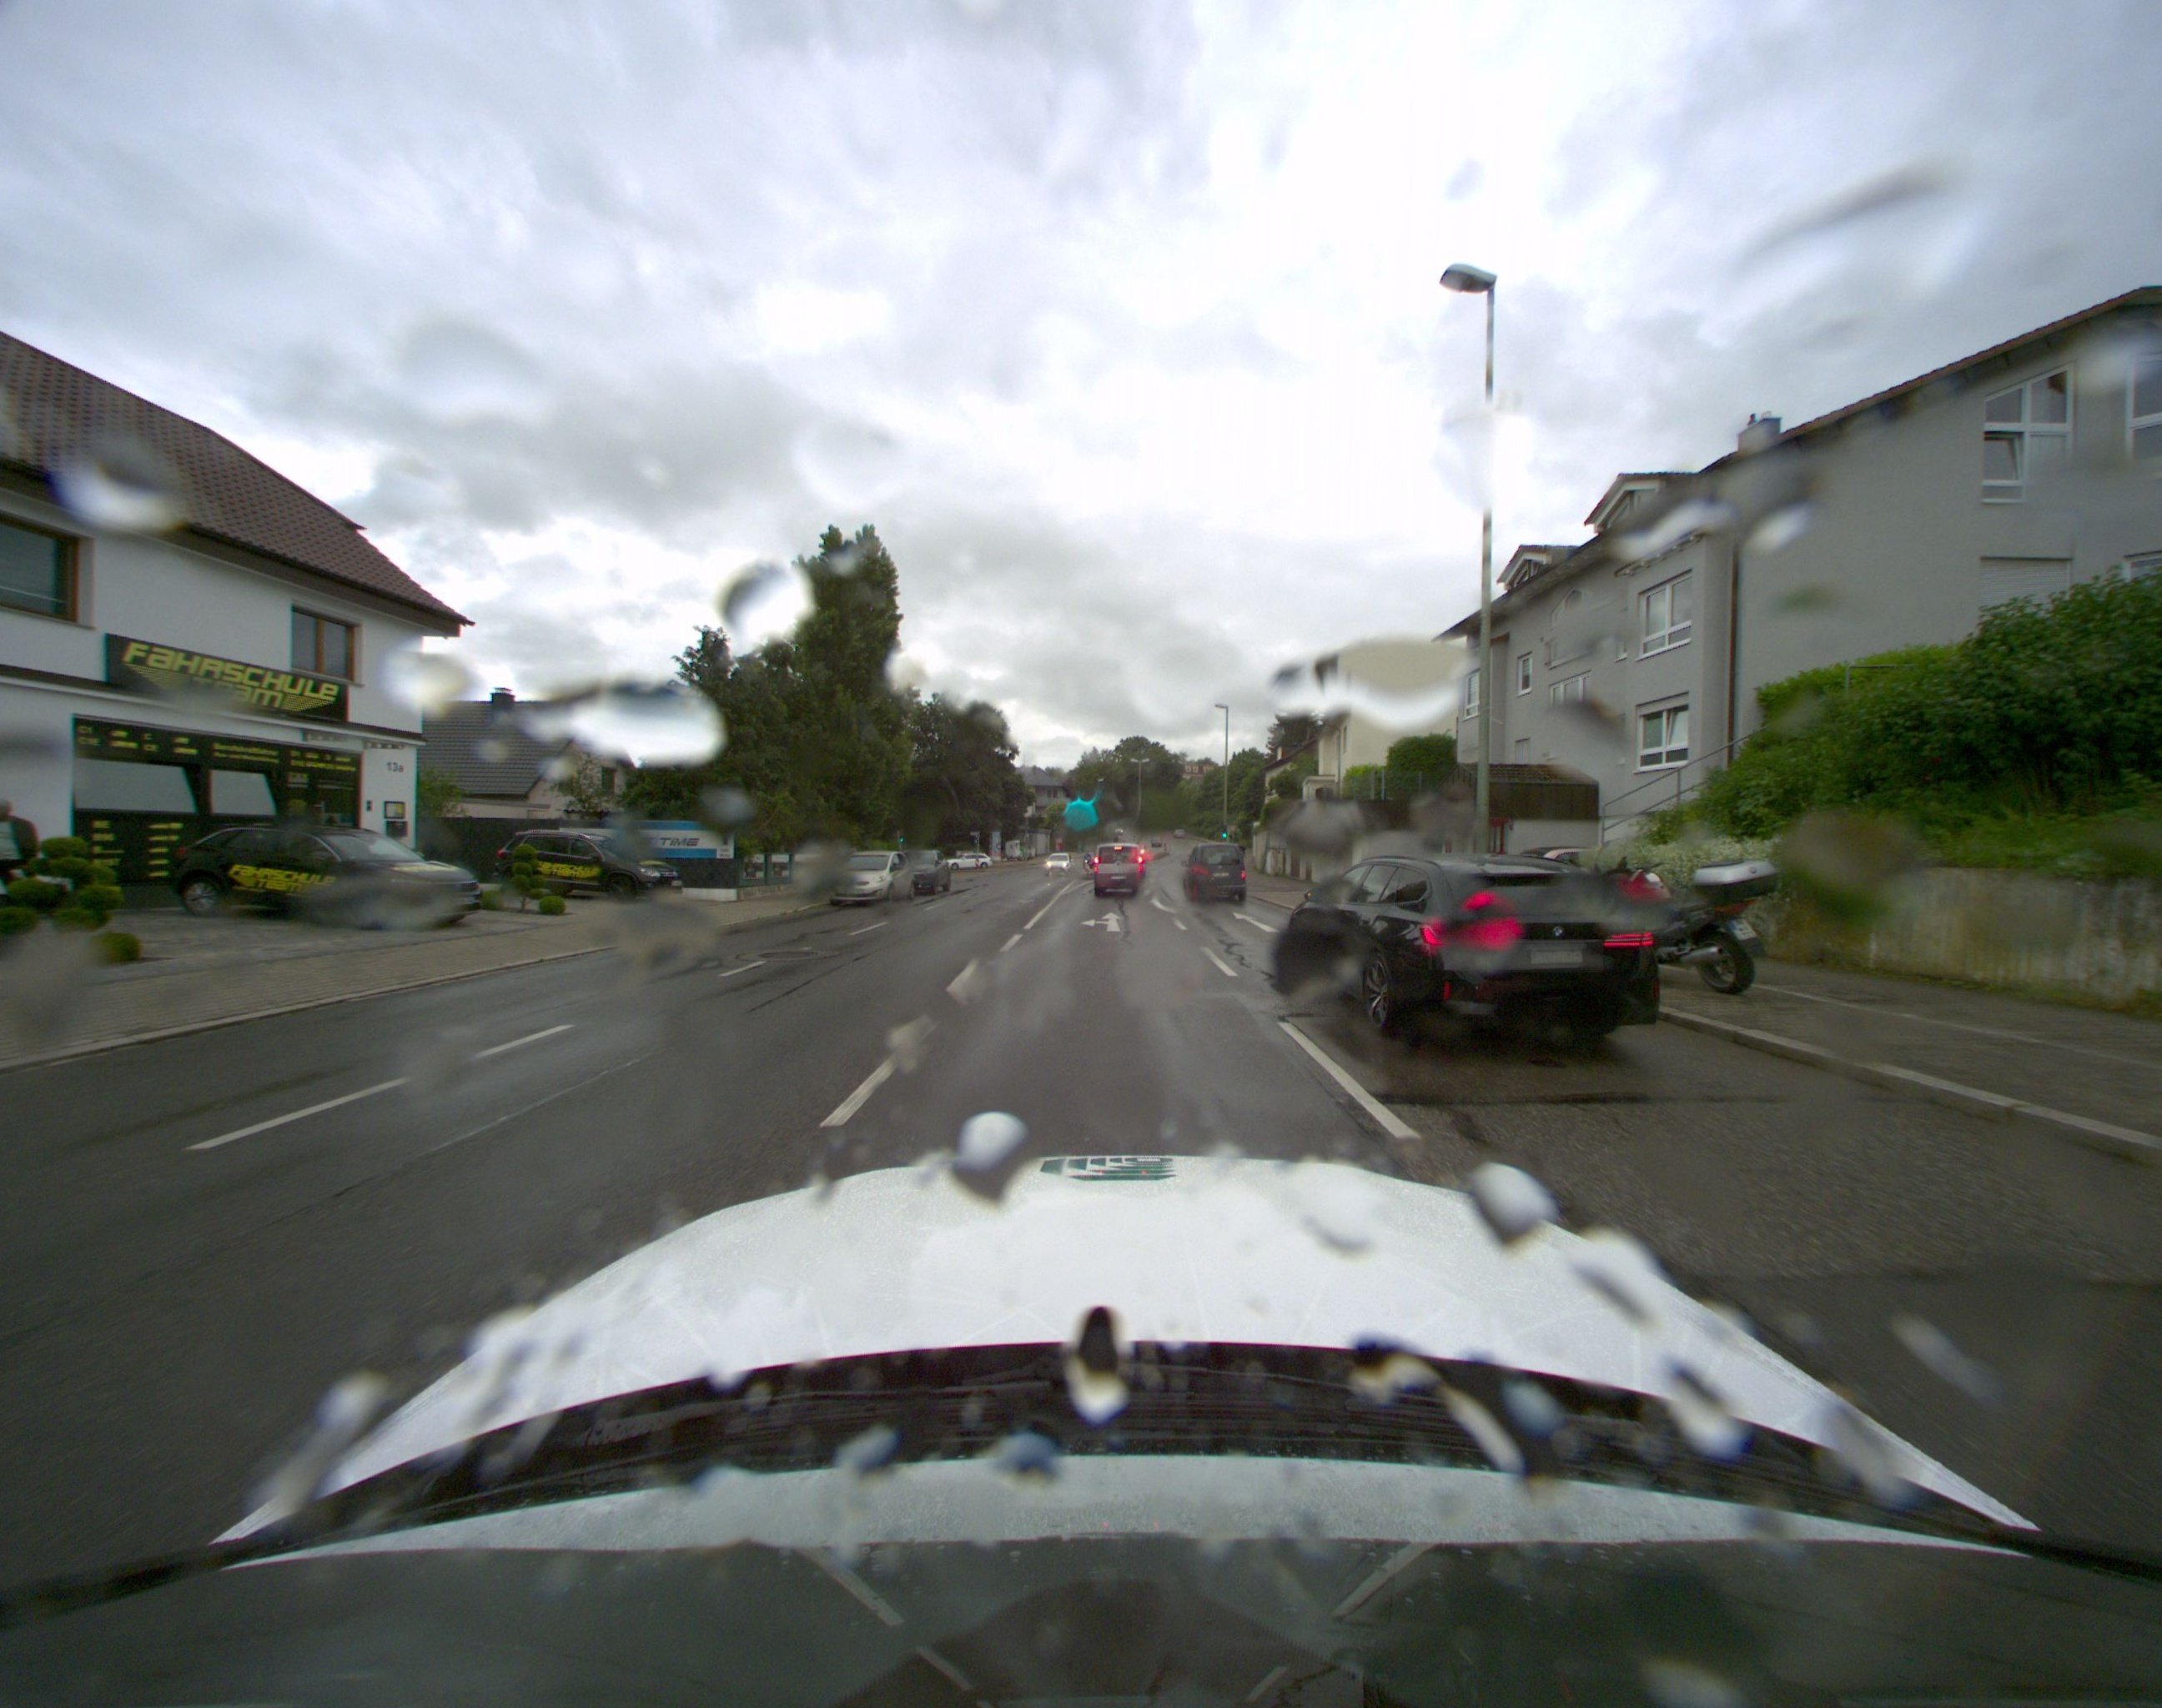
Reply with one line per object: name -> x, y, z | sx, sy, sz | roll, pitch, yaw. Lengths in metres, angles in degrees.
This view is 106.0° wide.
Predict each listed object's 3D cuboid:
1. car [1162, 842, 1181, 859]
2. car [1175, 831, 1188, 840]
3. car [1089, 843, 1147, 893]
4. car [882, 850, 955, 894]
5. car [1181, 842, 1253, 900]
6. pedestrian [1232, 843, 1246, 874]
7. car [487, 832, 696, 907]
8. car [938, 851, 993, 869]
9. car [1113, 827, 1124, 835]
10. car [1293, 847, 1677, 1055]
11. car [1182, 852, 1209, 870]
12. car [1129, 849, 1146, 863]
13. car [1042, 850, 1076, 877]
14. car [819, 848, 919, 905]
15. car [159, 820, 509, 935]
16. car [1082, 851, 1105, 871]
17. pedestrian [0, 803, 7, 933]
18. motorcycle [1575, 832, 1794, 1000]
car -> 12.198, -0.522, 109.535 | 2.509, 2.013, 5.620 | 1, 3, 6
car -> 18.854, -3.419, 152.581 | 1.986, 1.585, 4.002 | 0, 0, 2
car -> 1.360, 0.486, 30.142 | 1.986, 1.737, 4.002 | 0, 0, 2
car -> -6.147, 0.641, 31.202 | 1.877, 1.585, 4.002 | 0, 0, 2
car -> 4.394, 0.513, 26.917 | 1.831, 1.767, 4.002 | 0, 0, 2
pedestrian -> 10.480, 0.282, 54.183 | 0.868, 2.013, 0.880 | -1, 0, 9
car -> -12.278, 0.368, 20.632 | 4.058, 1.516, 1.856 | 4, 0, 1
car -> -10.321, 0.552, 72.830 | 4.409, 1.547, 1.981 | 0, 0, -30
car -> 7.534, -4.612, 163.436 | 1.986, 1.585, 4.002 | 0, 0, 2
car -> 3.444, 0.698, 7.920 | 1.985, 1.484, 4.004 | 0, 0, 4
car -> 10.426, 0.590, 74.386 | 1.986, 1.578, 4.002 | 0, 0, 2
car -> 6.961, 0.249, 101.187 | 1.986, 1.772, 4.002 | 0, 0, 2
car -> -1.441, 0.612, 54.354 | 1.986, 1.772, 4.002 | 0, 0, 2
car -> -6.343, 0.641, 24.842 | 1.877, 1.585, 4.002 | 0, 0, 2
car -> -12.371, 0.361, 13.697 | 4.058, 1.516, 1.856 | 4, 0, 1
car -> 1.167, 0.626, 73.613 | 1.986, 1.772, 4.002 | 0, 0, 2
pedestrian -> -14.185, 0.167, 10.182 | 0.597, 1.665, 0.651 | 3, 0, 9
motorcycle -> 6.163, 0.565, 8.514 | 0.700, 1.509, 2.151 | -2, 0, 2
